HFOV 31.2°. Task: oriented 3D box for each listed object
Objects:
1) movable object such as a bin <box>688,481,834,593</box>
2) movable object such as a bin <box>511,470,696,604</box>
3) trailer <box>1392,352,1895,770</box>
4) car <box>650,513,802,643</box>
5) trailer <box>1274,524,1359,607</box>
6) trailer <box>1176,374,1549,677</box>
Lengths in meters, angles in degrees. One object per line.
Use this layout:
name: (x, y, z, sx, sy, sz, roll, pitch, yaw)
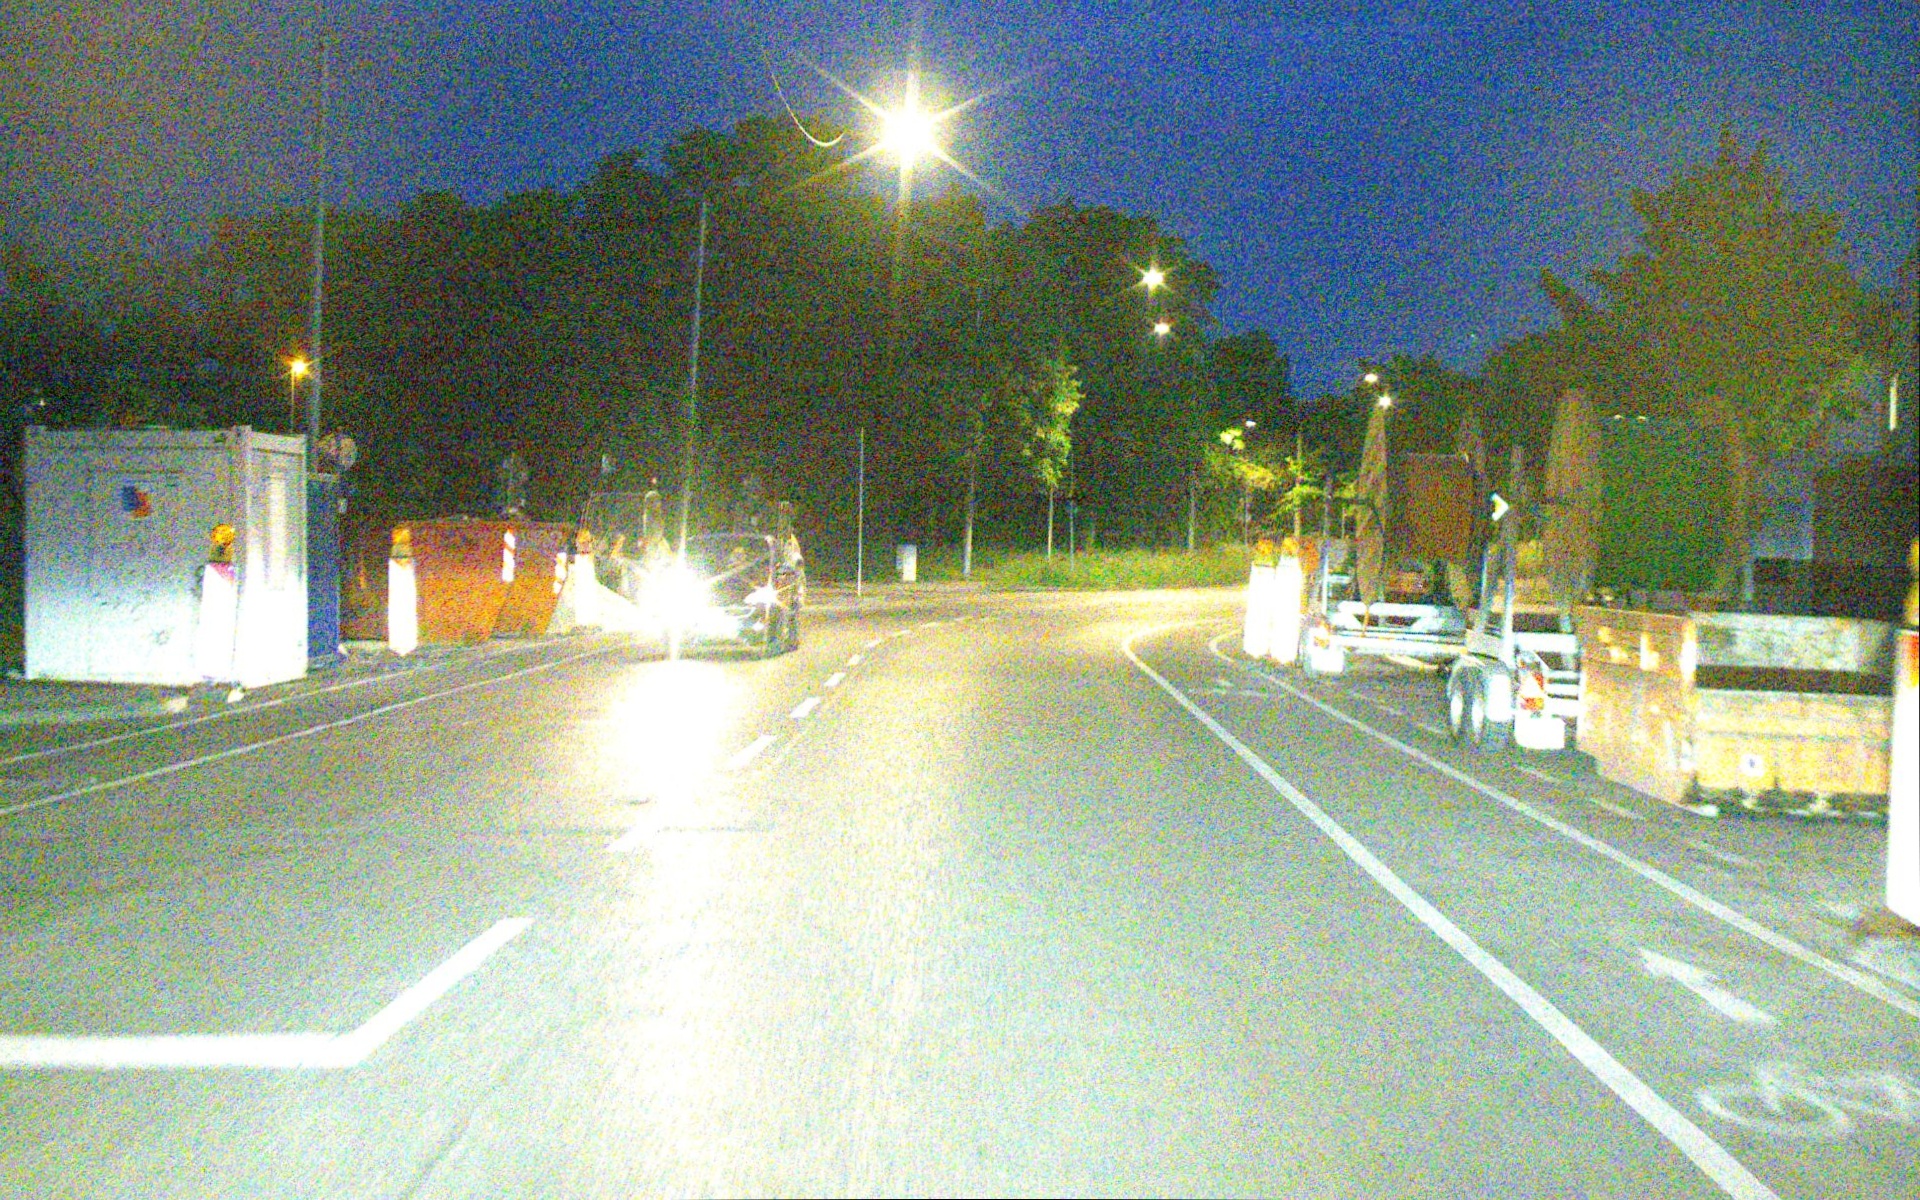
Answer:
movable object such as a bin: (-4.359, -1.414, 76.028, 1.995, 2.368, 4.699, 1, 1, 13)
movable object such as a bin: (-6.564, -1.144, 63.796, 1.995, 2.368, 4.699, 1, 0, 13)
trailer: (5.142, -0.313, 26.708, 2.613, 2.836, 4.710, 3, 1, -3)
car: (-2.951, -0.307, 43.885, 1.696, 1.571, 2.957, -1, 2, 1)
trailer: (6.641, -0.664, 64.318, 1.243, 1.429, 3.727, 2, 2, 1)
trailer: (4.656, -0.875, 40.855, 3.481, 3.208, 4.866, 3, 1, -3)
